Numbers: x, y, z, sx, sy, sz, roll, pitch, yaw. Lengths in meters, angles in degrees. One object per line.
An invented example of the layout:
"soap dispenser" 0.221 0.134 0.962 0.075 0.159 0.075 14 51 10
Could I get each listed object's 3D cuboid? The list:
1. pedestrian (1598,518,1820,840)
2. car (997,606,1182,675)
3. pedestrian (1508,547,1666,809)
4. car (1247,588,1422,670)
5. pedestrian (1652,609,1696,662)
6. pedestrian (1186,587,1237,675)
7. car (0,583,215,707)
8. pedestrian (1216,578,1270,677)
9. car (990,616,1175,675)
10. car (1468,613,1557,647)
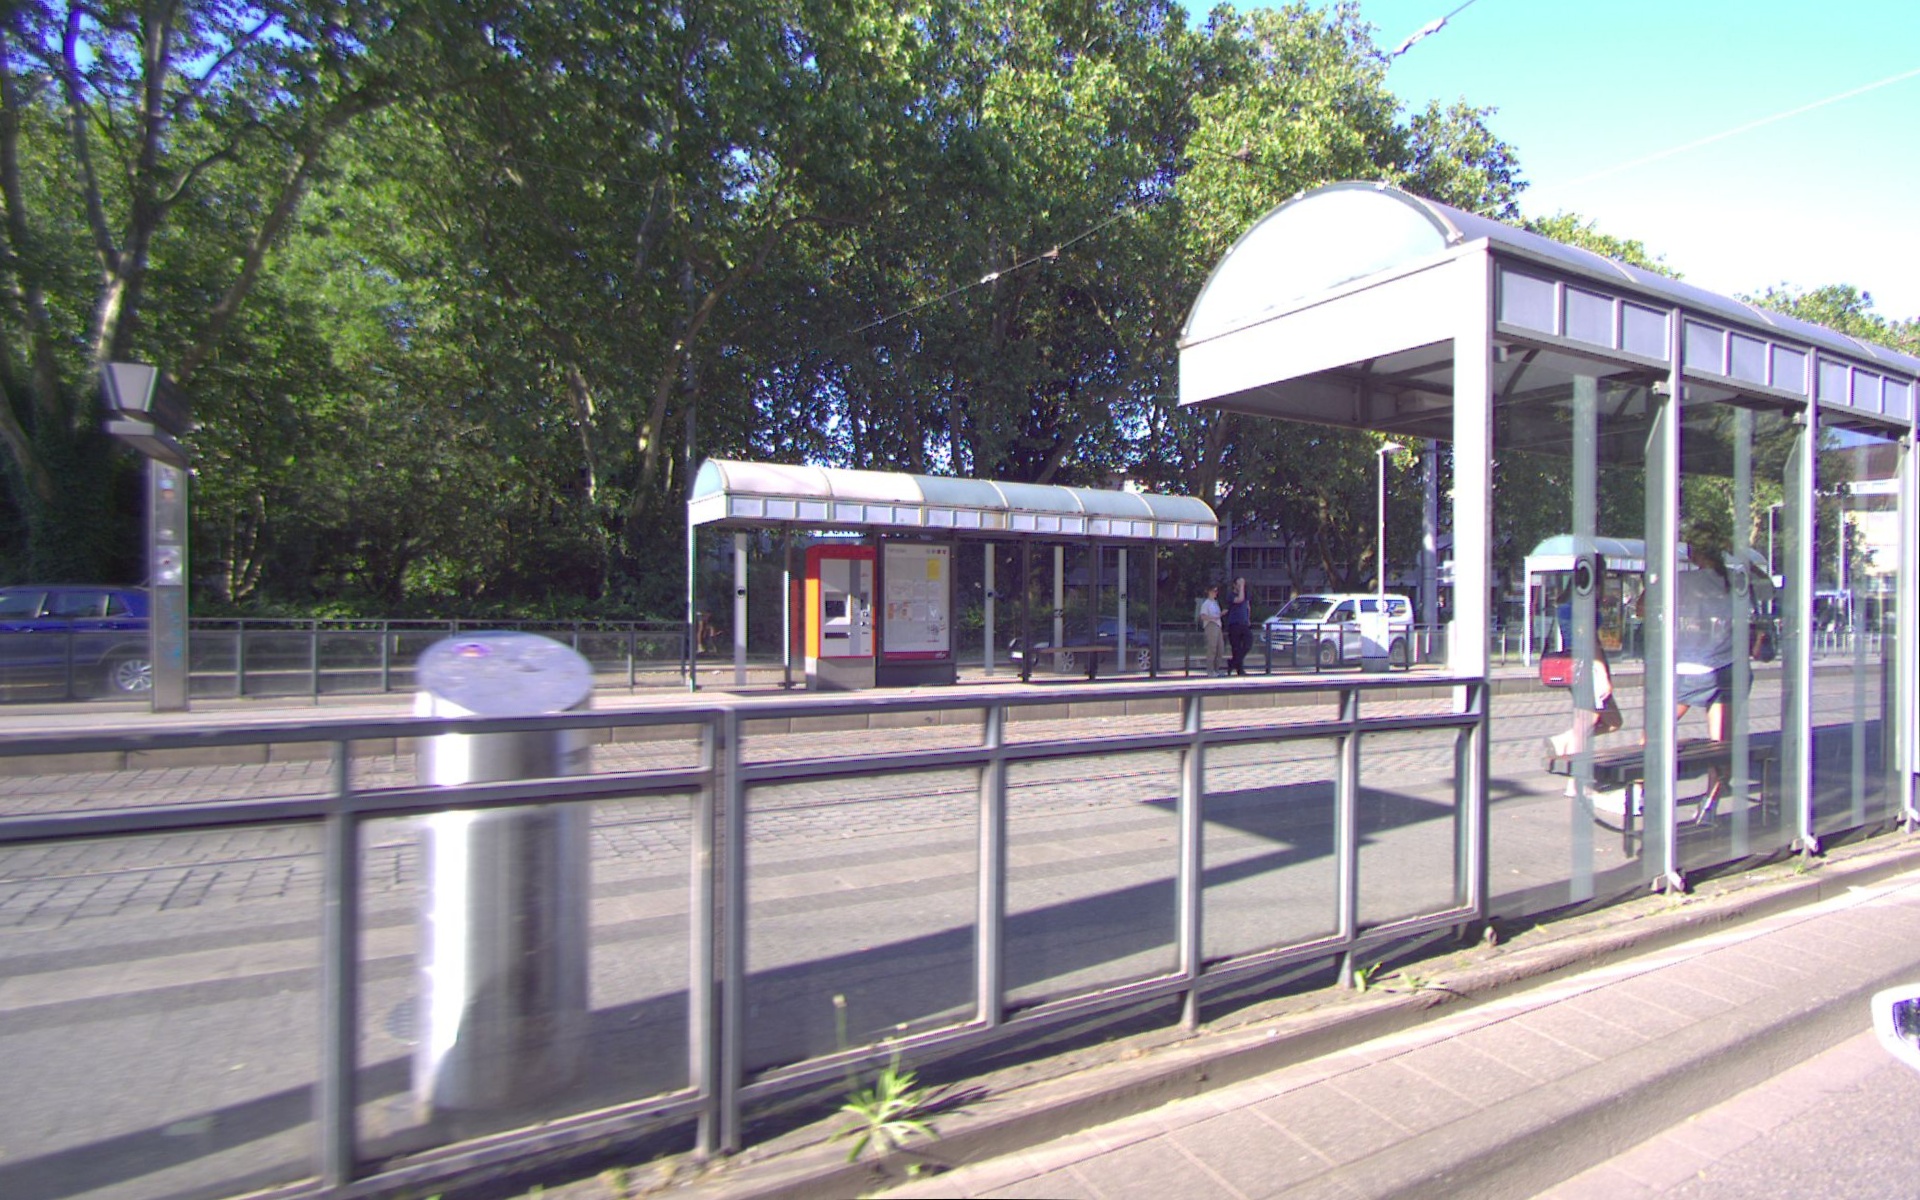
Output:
"pedestrian" 4.362 0.421 5.870 0.781 1.717 0.739 1 1 -30
"car" 3.153 0.971 24.145 4.293 1.530 1.785 2 -2 -32
"pedestrian" 4.047 0.471 6.502 0.642 1.588 0.585 1 1 -30
"car" 10.694 0.850 28.563 5.034 2.152 2.056 2 -2 -32
"pedestrian" 18.524 0.931 26.062 0.748 1.342 0.666 1 -3 -32
"pedestrian" 4.581 0.551 18.287 0.619 1.564 0.590 2 1 -30
"car" -13.320 0.644 14.521 3.931 1.673 1.892 2 -2 -34
"pedestrian" 5.233 0.498 18.617 0.642 1.796 0.645 2 1 -28
"car" 2.958 1.076 24.028 4.268 1.309 1.760 2 -2 -32
"car" 41.200 2.209 74.968 5.617 2.367 2.155 1 0 -7
